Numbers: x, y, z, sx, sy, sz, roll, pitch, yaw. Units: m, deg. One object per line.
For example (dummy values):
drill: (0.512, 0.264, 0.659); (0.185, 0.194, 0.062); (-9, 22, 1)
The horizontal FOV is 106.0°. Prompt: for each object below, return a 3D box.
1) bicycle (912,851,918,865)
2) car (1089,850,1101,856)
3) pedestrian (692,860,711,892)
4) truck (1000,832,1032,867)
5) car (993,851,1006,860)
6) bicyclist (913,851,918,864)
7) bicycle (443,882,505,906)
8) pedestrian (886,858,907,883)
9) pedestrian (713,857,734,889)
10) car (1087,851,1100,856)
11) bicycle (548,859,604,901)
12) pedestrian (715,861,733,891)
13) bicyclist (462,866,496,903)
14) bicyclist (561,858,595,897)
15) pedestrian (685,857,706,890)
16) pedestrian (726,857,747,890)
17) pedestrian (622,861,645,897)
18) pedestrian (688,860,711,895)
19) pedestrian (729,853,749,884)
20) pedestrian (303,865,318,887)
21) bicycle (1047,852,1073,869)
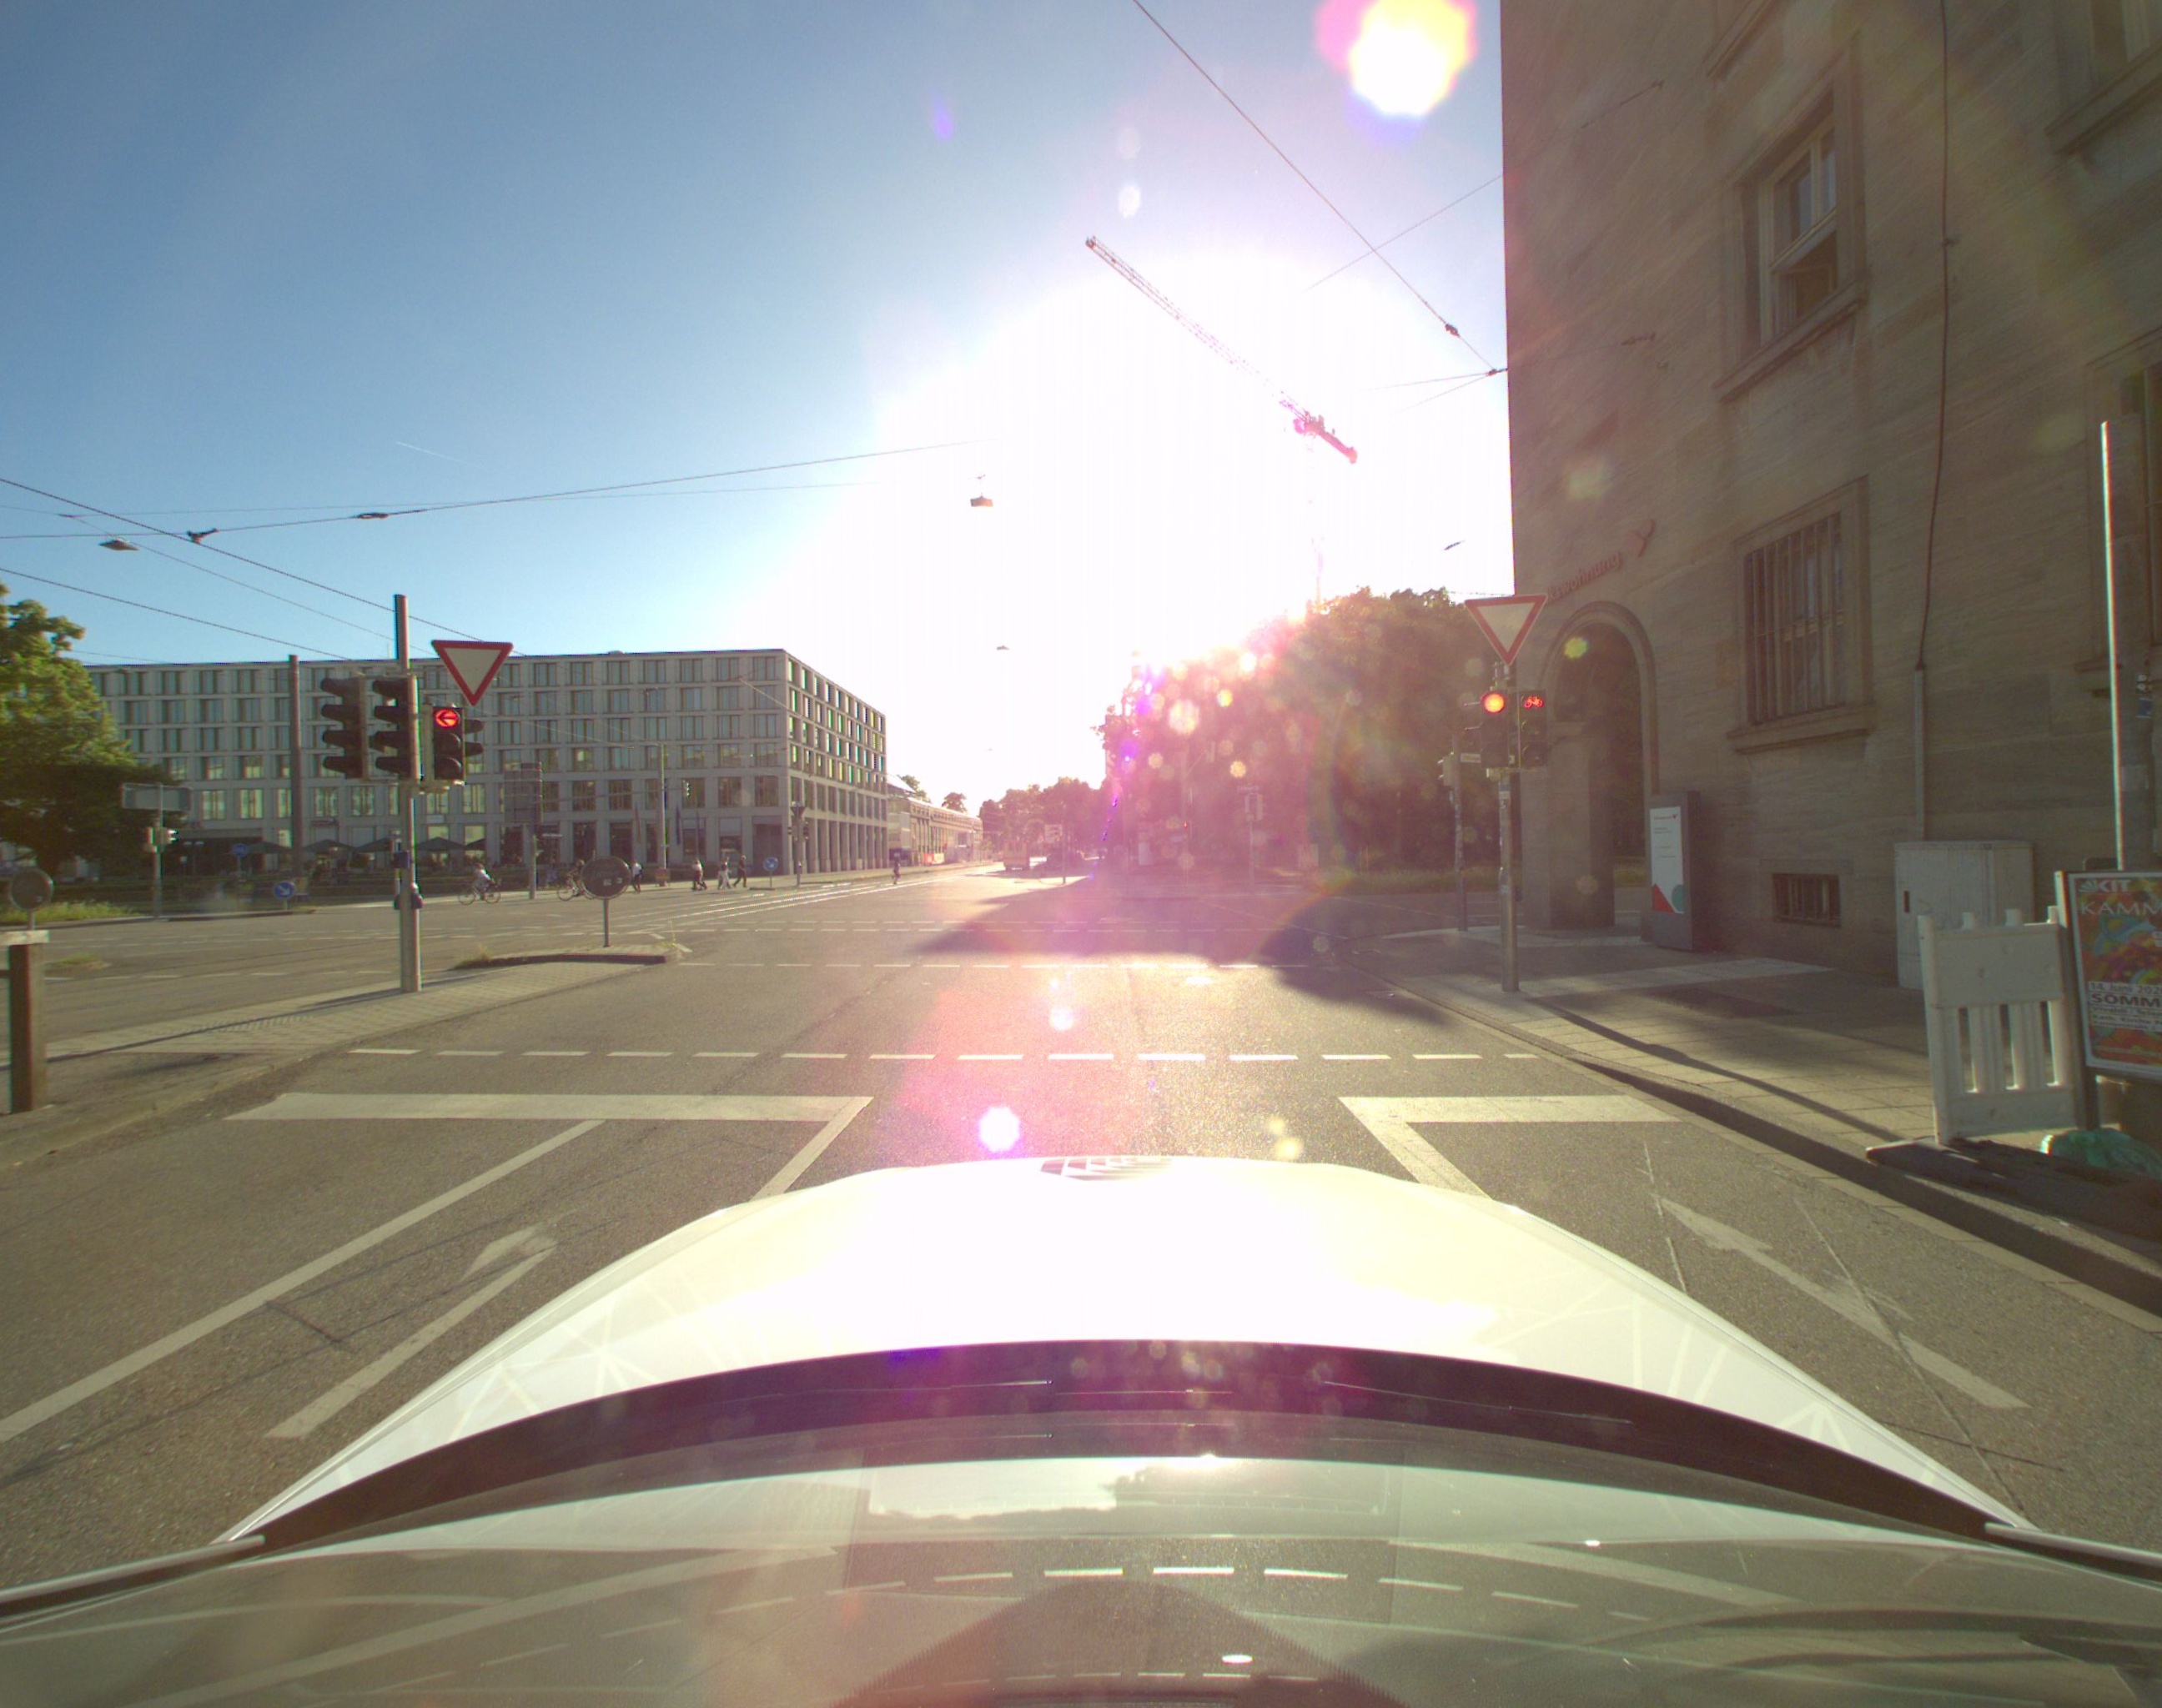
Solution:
bicycle: (-26.658, 0.617, 131.069); (0.569, 2.296, 1.422); (-2, 0, 0)
car: (3.651, -0.185, 213.656); (3.207, 1.588, 1.445); (0, -1, -3)
pedestrian: (-21.972, 1.255, 47.152); (0.735, 1.803, 0.533); (-2, 0, 7)
truck: (-5.901, -0.398, 74.890); (2.710, 3.016, 6.482); (-1, 0, -3)
car: (-15.733, 0.264, 157.043); (1.888, 1.607, 4.499); (-2, 0, 0)
bicyclist: (-26.660, 0.508, 131.024); (0.569, 2.024, 0.762); (-2, 0, 0)
bicycle: (-26.147, 1.734, 35.112); (2.065, 0.933, 0.572); (-2, 0, -11)
pedestrian: (-9.797, 0.864, 43.282); (0.993, 1.317, 0.765); (-2, 0, -7)
pedestrian: (-18.681, 0.989, 42.509); (0.790, 1.644, 0.621); (-2, 0, -3)
car: (3.277, -0.038, 211.387); (3.207, 1.263, 1.373); (0, -1, 0)
bicycle: (-21.752, 1.114, 35.090); (1.901, 1.735, 0.594); (-2, 0, -16)
pedestrian: (-19.667, 1.210, 44.860); (0.691, 1.644, 0.622); (-2, 0, 2)
bicyclist: (-25.983, 1.311, 35.155); (0.976, 1.560, 0.572); (-2, 0, -14)
bicyclist: (-21.683, 0.998, 35.106); (1.077, 1.641, 0.594); (-2, 0, -16)
pedestrian: (-21.560, 1.078, 45.577); (0.735, 1.803, 0.717); (-2, 0, 7)
pedestrian: (-19.517, 1.098, 46.132); (0.865, 1.803, 0.533); (-2, 0, 7)
pedestrian: (-24.029, 1.326, 43.733); (0.797, 1.918, 0.638); (-2, 0, 7)
pedestrian: (-20.571, 1.264, 43.906); (0.865, 1.803, 0.665); (-2, 0, 7)
pedestrian: (-19.318, 0.812, 46.055); (0.744, 1.761, 0.679); (-2, -1, 6)
pedestrian: (-58.000, 1.654, 61.325); (0.538, 1.669, 0.561); (0, -1, -2)
bicycle: (-2.092, 0.657, 81.631); (2.538, 1.744, 1.038); (0, -1, 1)
